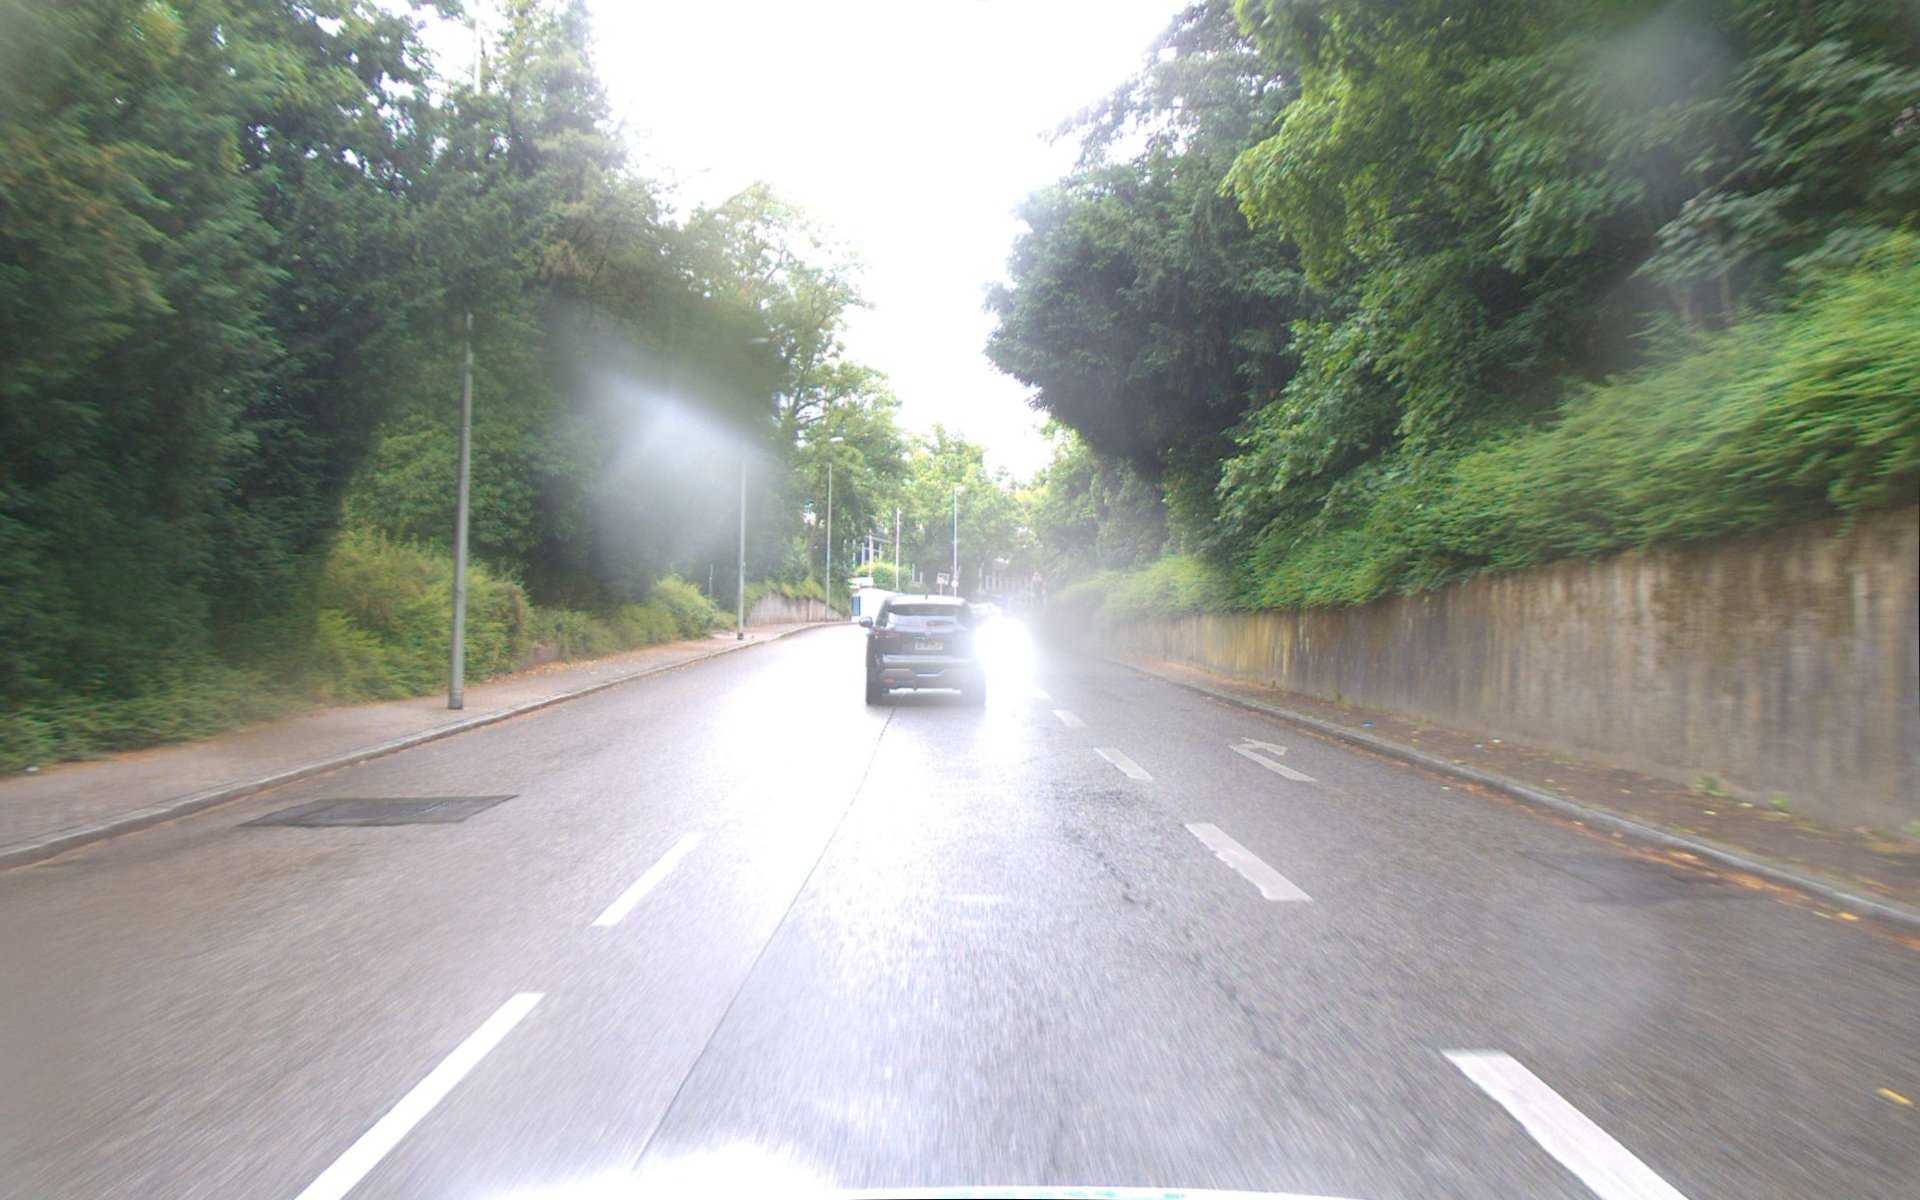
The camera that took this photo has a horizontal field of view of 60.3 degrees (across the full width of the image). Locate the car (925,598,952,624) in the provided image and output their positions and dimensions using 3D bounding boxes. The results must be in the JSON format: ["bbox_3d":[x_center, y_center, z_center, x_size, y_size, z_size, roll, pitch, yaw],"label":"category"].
[{"bbox_3d":[-1.557,0.775,118.028,1.794,1.741,3.998,1,0,-3],"label":"car"}]

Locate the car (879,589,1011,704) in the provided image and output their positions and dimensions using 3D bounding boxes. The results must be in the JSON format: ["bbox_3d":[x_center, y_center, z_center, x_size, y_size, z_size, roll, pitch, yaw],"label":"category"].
[{"bbox_3d":[-0.258,0.669,25.720,1.889,1.641,3.999,0,0,-1],"label":"car"}]

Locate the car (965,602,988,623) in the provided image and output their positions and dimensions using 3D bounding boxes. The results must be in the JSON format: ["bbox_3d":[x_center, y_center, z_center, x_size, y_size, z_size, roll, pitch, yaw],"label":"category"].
[{"bbox_3d":[1.263,0.953,126.903,1.641,1.522,3.459,1,0,-2],"label":"car"}]
